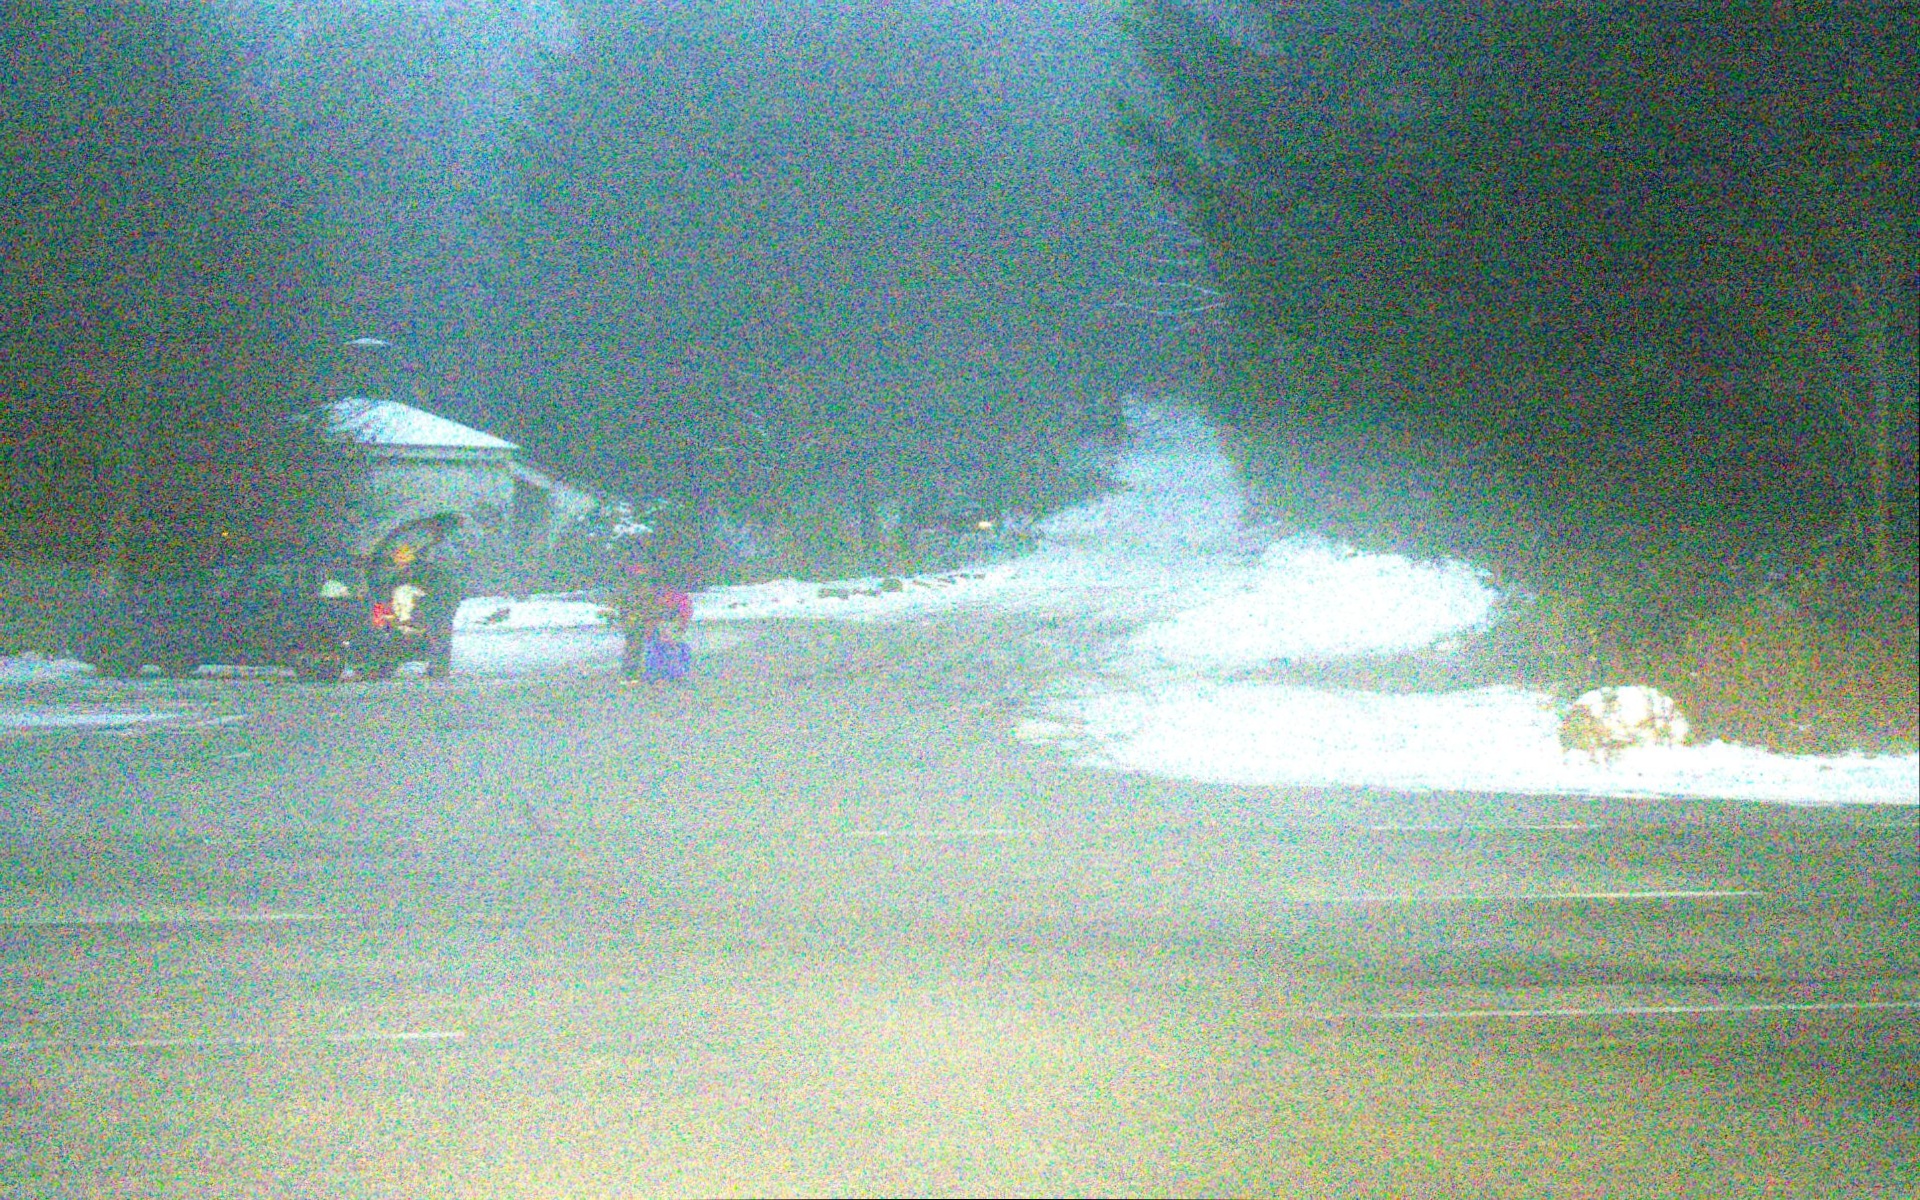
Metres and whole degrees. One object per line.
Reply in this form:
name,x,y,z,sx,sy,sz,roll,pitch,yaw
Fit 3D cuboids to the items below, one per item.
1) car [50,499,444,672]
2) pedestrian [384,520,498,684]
car,-8.188,-0.166,39.659,3.949,1.875,1.999,1,0,10
pedestrian,-5.858,0.024,38.847,0.961,1.822,0.924,1,0,15
